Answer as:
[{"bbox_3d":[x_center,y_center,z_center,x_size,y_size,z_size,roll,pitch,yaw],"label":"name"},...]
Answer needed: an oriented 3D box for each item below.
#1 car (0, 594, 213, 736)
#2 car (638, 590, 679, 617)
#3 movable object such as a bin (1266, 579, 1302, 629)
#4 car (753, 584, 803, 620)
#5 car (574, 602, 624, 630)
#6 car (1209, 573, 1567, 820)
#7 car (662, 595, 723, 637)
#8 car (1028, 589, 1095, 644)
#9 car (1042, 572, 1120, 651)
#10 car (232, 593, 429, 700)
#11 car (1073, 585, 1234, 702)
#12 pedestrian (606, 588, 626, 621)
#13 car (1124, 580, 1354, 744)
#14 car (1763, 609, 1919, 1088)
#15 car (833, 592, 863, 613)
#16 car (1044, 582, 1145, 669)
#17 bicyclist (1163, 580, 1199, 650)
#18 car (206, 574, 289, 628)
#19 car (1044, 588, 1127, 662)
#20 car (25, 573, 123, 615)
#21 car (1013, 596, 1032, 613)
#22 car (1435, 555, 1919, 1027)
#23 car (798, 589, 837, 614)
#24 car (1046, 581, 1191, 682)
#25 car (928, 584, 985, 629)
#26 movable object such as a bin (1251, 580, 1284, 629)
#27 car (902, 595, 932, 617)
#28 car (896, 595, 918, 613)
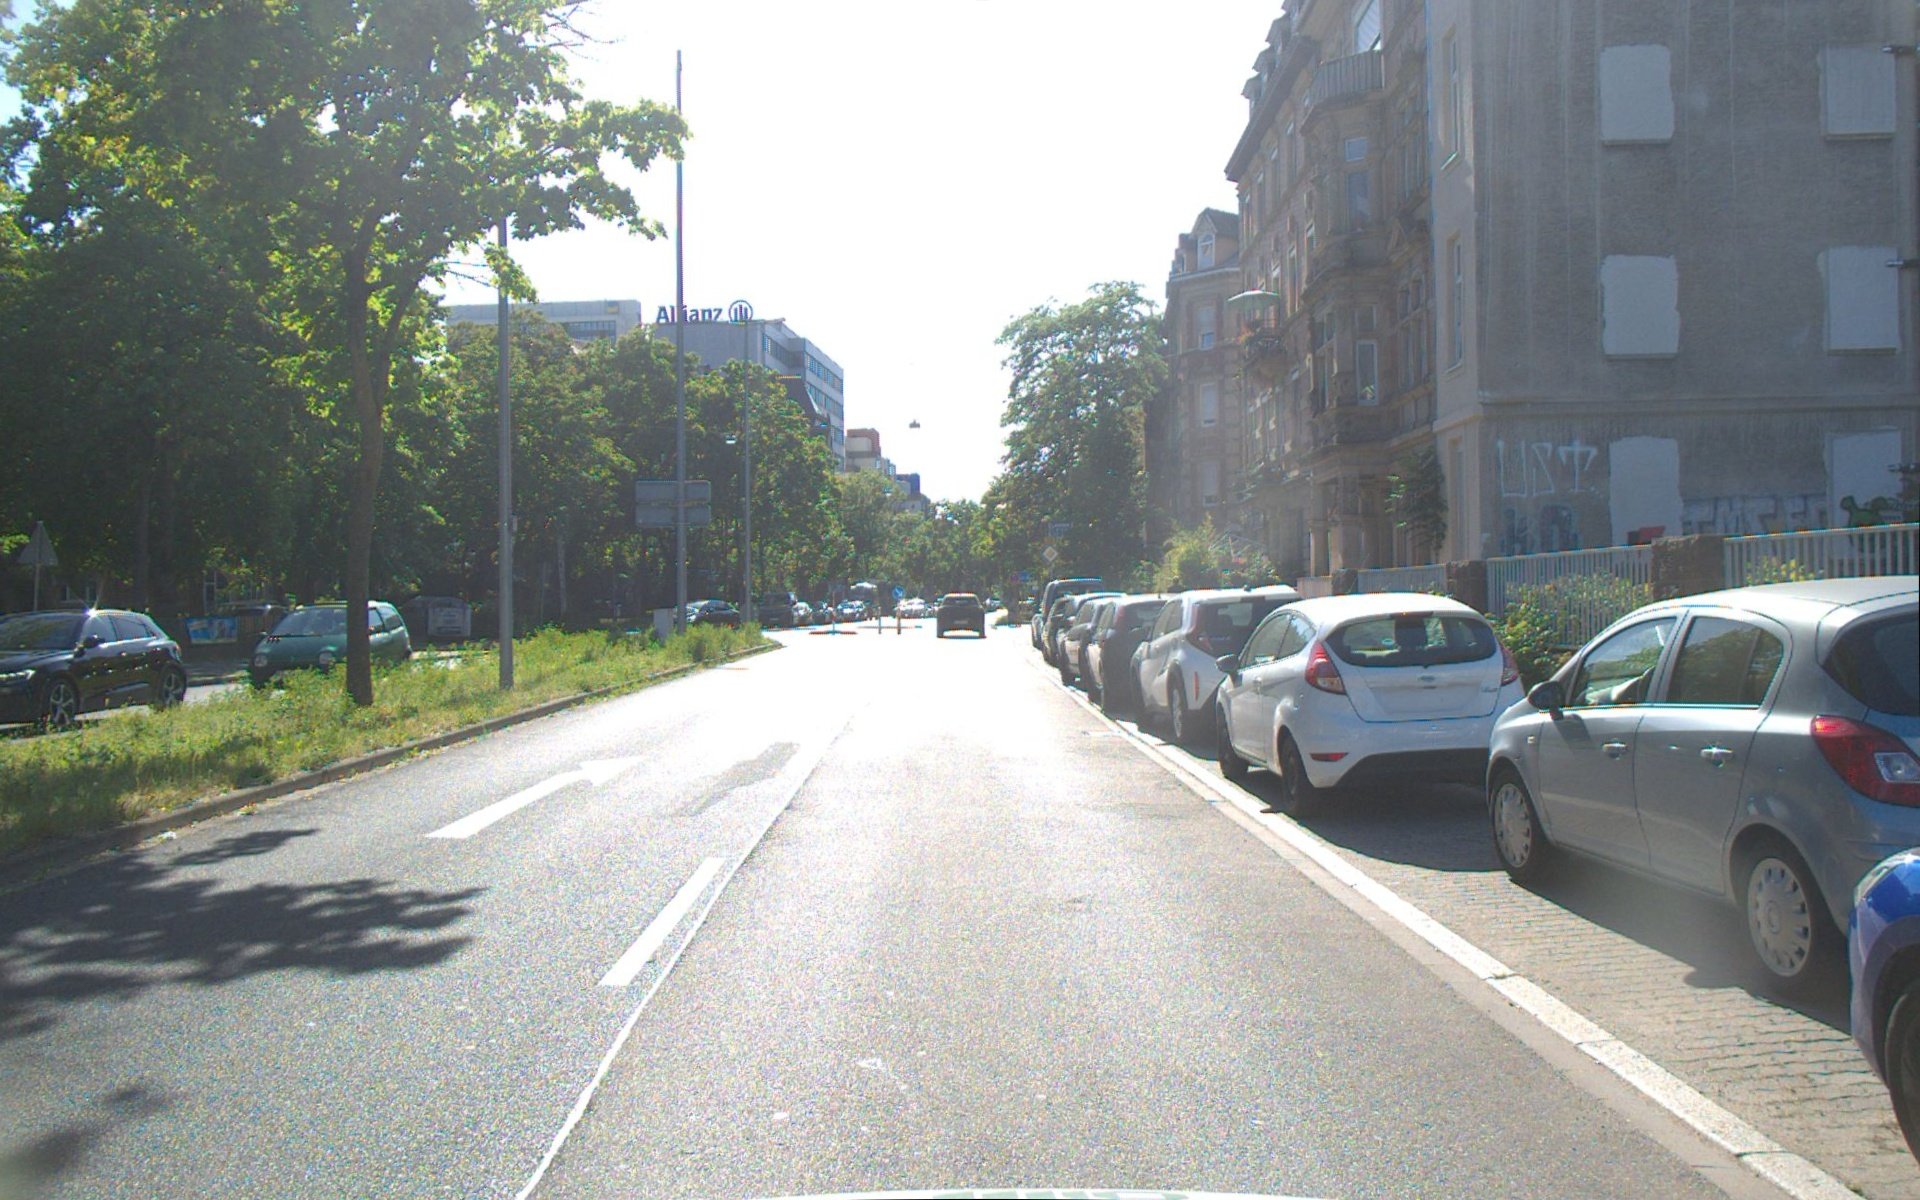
[{"bbox_3d":[-11.047,0.769,20.304,1.758,1.545,4.087,-2,-1,2],"label":"car"},{"bbox_3d":[-19.622,0.246,107.605,1.946,1.691,3.976,-2,0,-20],"label":"car"},{"bbox_3d":[7.760,0.100,39.594,0.743,1.177,0.608,0,-3,1],"label":"movable object such as a bin"},{"bbox_3d":[-10.446,0.102,95.323,2.153,1.963,4.864,-1,0,2],"label":"car"},{"bbox_3d":[-23.109,0.990,105.805,1.955,1.691,3.958,-1,1,-31],"label":"car"},{"bbox_3d":[3.030,0.594,12.466,1.576,1.471,3.657,-4,1,-2],"label":"car"},{"bbox_3d":[-10.349,0.589,64.255,1.759,1.545,4.422,0,0,-2],"label":"car"},{"bbox_3d":[2.909,0.455,48.199,1.674,1.450,4.206,3,0,0],"label":"car"},{"bbox_3d":[3.027,0.253,42.021,1.781,1.876,4.365,-1,1,2],"label":"car"},{"bbox_3d":[-9.958,0.676,26.512,1.605,1.545,4.257,-1,0,-2],"label":"car"},{"bbox_3d":[2.560,0.524,22.626,1.634,1.418,3.774,-1,1,-2],"label":"car"},{"bbox_3d":[-17.249,0.228,82.830,0.656,1.655,0.713,-1,0,33],"label":"pedestrian"},{"bbox_3d":[2.895,0.583,17.867,1.635,1.545,3.658,-1,1,-4],"label":"car"},{"bbox_3d":[3.326,0.625,3.031,1.635,1.203,3.899,-4,1,-2],"label":"car"},{"bbox_3d":[-7.890,0.174,116.679,1.491,1.457,3.340,-1,0,7],"label":"car"},{"bbox_3d":[2.614,0.465,32.796,1.589,1.496,3.298,5,1,-1],"label":"car"},{"bbox_3d":[5.180,0.348,38.783,0.726,1.607,1.100,0,1,1],"label":"bicyclist"},{"bbox_3d":[-34.816,0.078,80.989,1.807,2.365,4.984,0,-3,0],"label":"car"},{"bbox_3d":[2.723,0.506,36.563,1.633,1.493,4.275,-1,1,2],"label":"car"},{"bbox_3d":[-36.546,-0.221,68.327,1.808,1.517,3.999,0,-3,0],"label":"car"},{"bbox_3d":[6.722,0.467,176.657,1.880,1.668,4.002,-1,0,4],"label":"car"},{"bbox_3d":[3.714,0.593,7.527,1.635,1.485,3.983,-4,1,-4],"label":"car"},{"bbox_3d":[-9.157,0.069,106.363,1.721,1.545,3.862,-1,0,7],"label":"car"},{"bbox_3d":[2.611,0.469,28.234,1.896,1.545,4.483,-1,1,-2],"label":"car"},{"bbox_3d":[-0.156,0.232,60.139,1.857,1.545,3.997,1,0,-3],"label":"car"},{"bbox_3d":[7.501,0.112,40.367,0.707,1.177,0.608,0,-3,1],"label":"movable object such as a bin"},{"bbox_3d":[-3.368,0.485,130.161,1.721,1.545,3.863,-2,1,7],"label":"car"},{"bbox_3d":[-4.759,0.369,149.248,1.764,1.530,3.808,-1,0,1],"label":"car"}]
